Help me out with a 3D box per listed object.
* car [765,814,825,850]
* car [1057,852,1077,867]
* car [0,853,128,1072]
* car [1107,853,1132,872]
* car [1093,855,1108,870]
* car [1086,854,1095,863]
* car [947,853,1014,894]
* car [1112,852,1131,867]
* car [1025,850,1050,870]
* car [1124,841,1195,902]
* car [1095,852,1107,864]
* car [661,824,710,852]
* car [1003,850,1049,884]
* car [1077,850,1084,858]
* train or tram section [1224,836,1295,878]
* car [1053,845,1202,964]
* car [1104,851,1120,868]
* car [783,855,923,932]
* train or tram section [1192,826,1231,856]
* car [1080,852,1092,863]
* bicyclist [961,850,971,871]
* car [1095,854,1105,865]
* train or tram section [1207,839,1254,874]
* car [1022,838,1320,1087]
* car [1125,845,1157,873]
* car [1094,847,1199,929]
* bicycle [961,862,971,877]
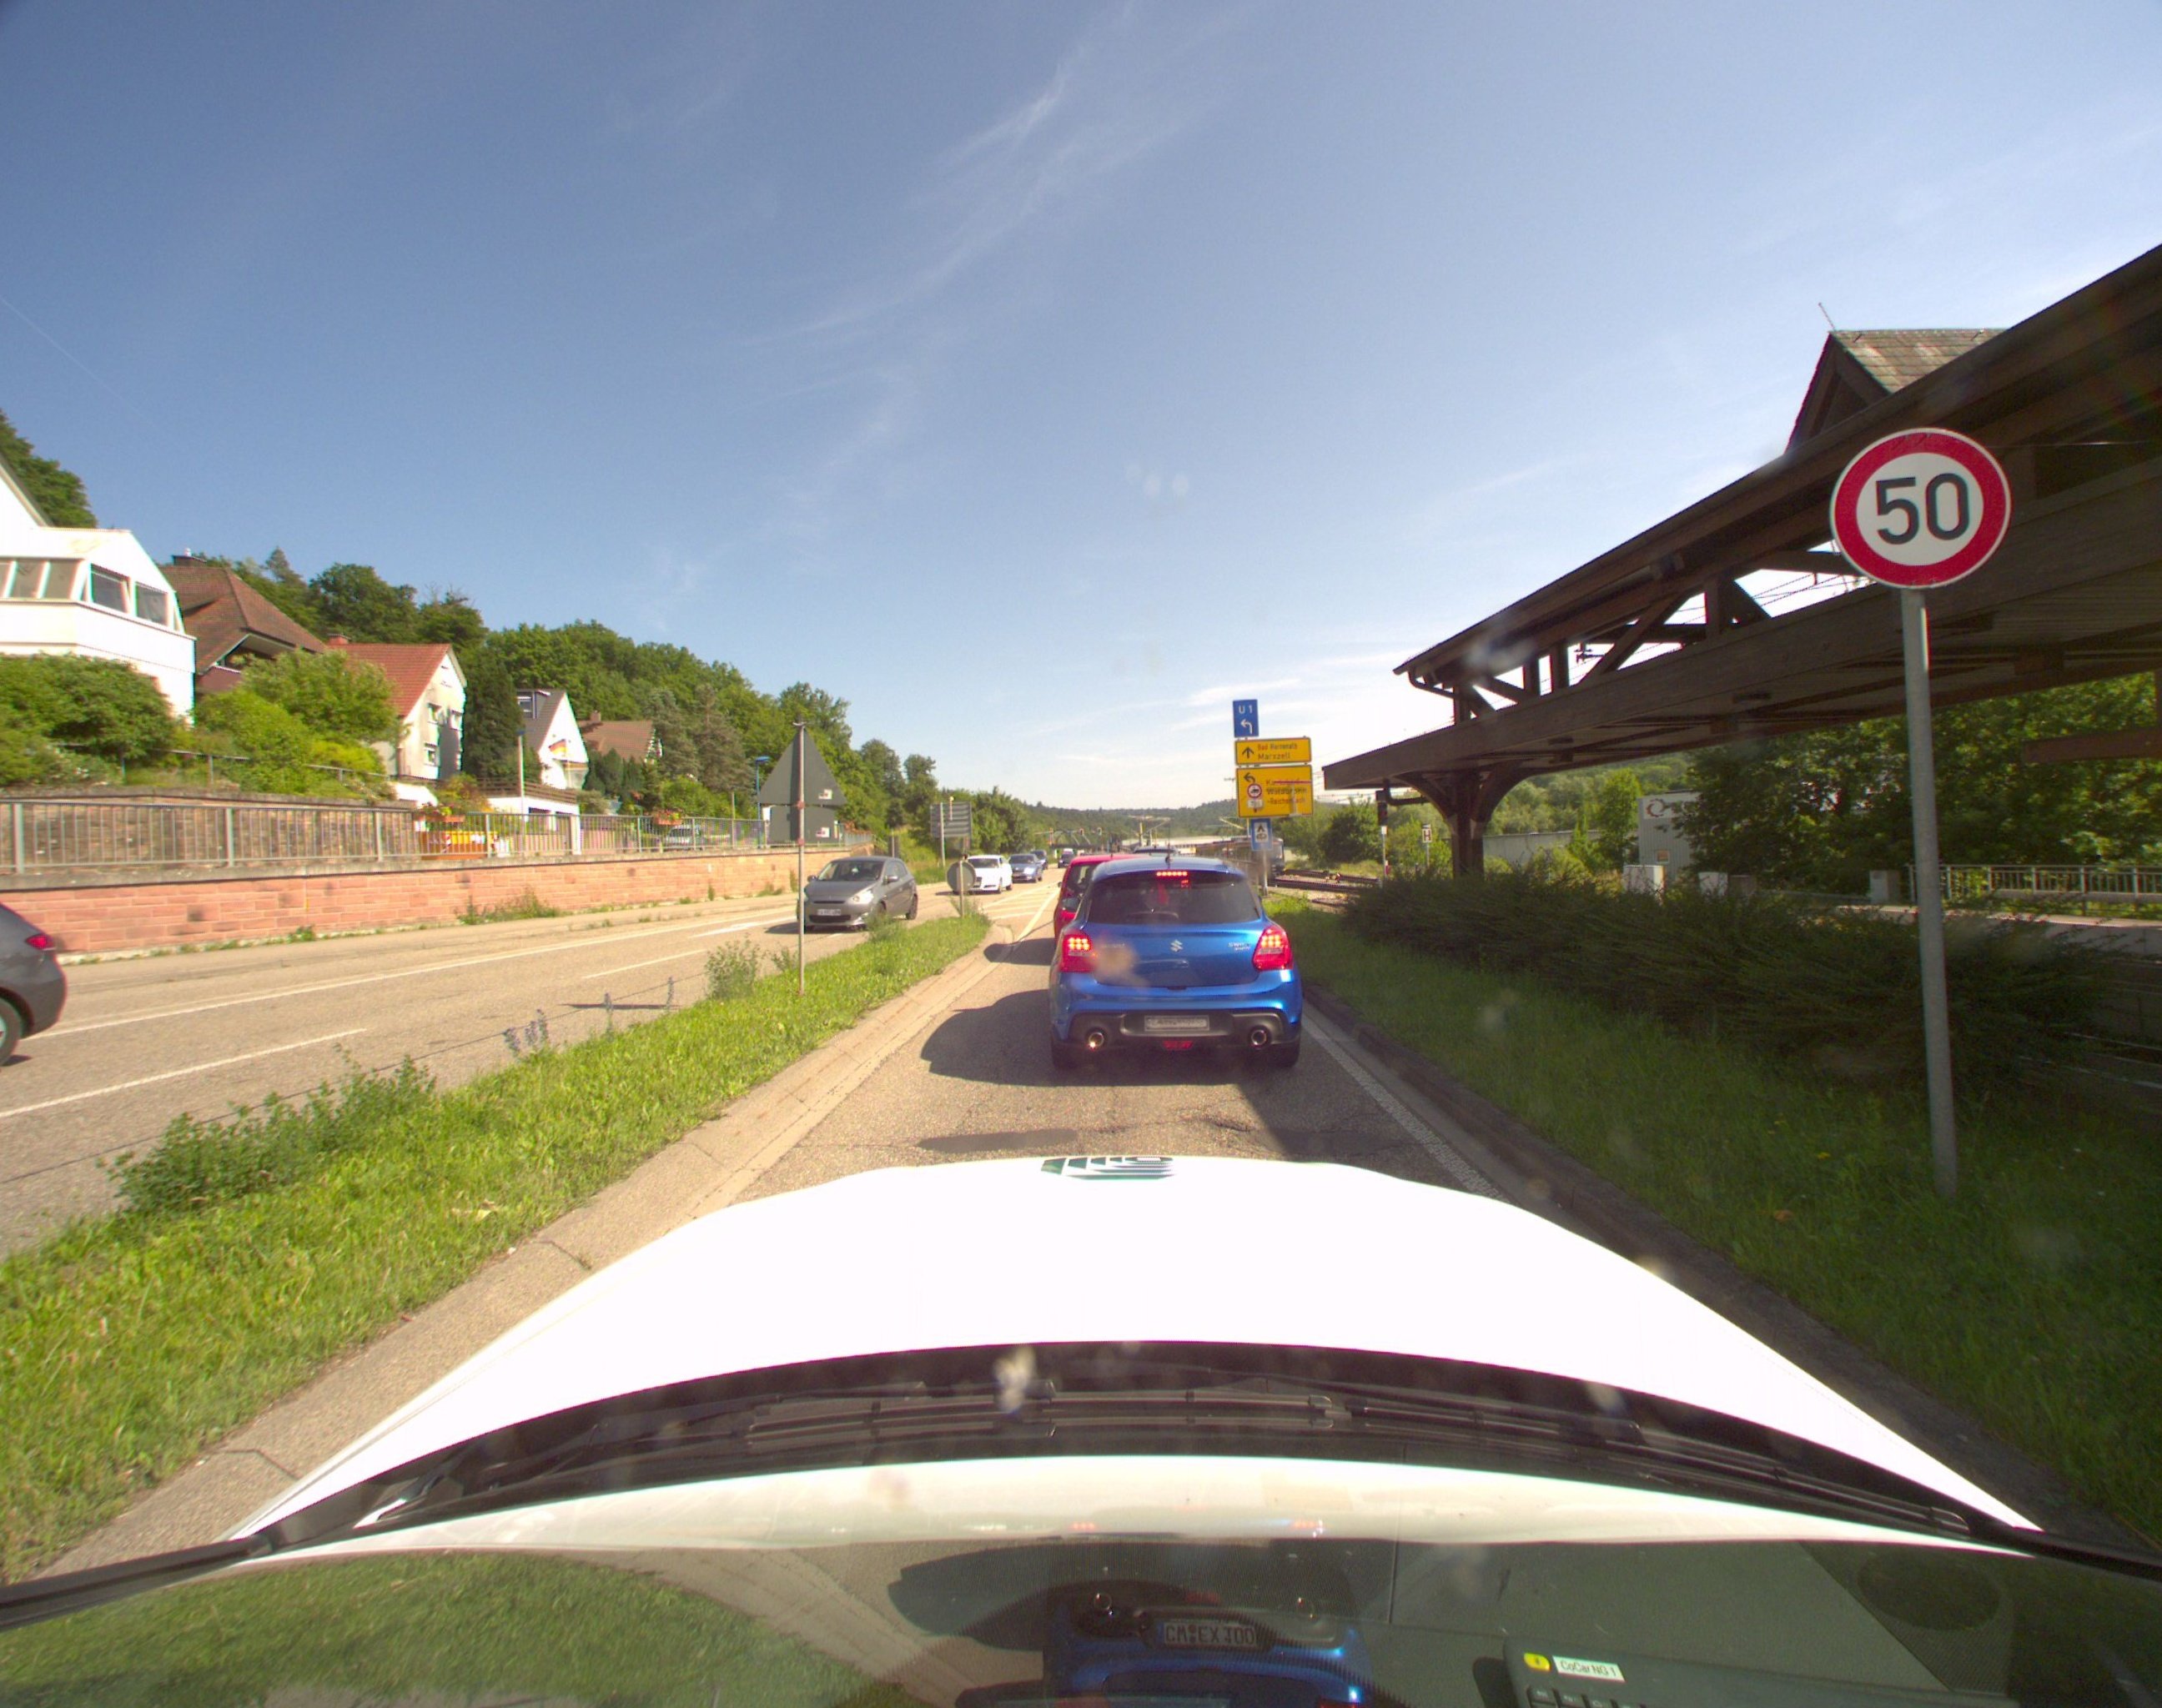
[{"bbox_3d":[-16.108,-1.247,46.115,2.017,1.920,4.724,0,1,-5],"label":"car"},{"bbox_3d":[-1.344,0.535,81.285,1.826,1.431,3.812,0,1,1],"label":"car"},{"bbox_3d":[-8.842,0.806,4.368,1.985,1.564,4.514,-1,0,4],"label":"car"},{"bbox_3d":[3.066,0.649,64.292,1.824,1.431,3.815,1,1,4],"label":"car"},{"bbox_3d":[2.807,1.182,116.851,1.986,2.013,4.002,0,1,2],"label":"car"},{"bbox_3d":[2.234,1.040,190.295,1.986,2.013,4.002,0,1,2],"label":"car"},{"bbox_3d":[-3.710,0.700,30.859,1.825,1.369,3.953,0,1,3],"label":"car"},{"bbox_3d":[4.251,0.537,84.863,1.824,1.493,3.815,1,1,4],"label":"car"},{"bbox_3d":[-3.930,0.488,73.690,1.825,1.713,3.814,1,1,3],"label":"car"},{"bbox_3d":[2.350,0.476,25.248,1.985,1.686,4.501,1,0,3],"label":"car"},{"bbox_3d":[3.540,0.702,141.458,1.986,2.013,4.002,0,1,2],"label":"car"},{"bbox_3d":[-24.466,-0.984,50.489,1.898,1.629,3.981,-1,0,-14],"label":"car"},{"bbox_3d":[-2.696,0.631,41.007,1.825,1.468,3.815,1,2,3],"label":"car"},{"bbox_3d":[-0.101,0.055,235.824,1.986,2.144,4.722,0,0,2],"label":"car"},{"bbox_3d":[15.518,0.221,72.211,2.847,3.365,14.348,-1,0,-1],"label":"train or tram section"},{"bbox_3d":[0.735,0.670,12.817,1.985,1.571,4.004,0,0,3],"label":"car"},{"bbox_3d":[3.766,0.663,99.262,1.986,2.013,4.002,0,1,2],"label":"car"},{"bbox_3d":[-4.676,0.743,17.270,1.665,1.441,3.843,-1,0,3],"label":"car"},{"bbox_3d":[15.378,-1.410,97.008,2.747,3.364,12.045,0,0,0],"label":"train or tram section"},{"bbox_3d":[0.930,0.625,140.318,1.986,1.783,4.002,0,0,2],"label":"car"},{"bbox_3d":[-8.295,0.487,58.826,0.627,1.507,0.506,0,1,-2],"label":"bicyclist"},{"bbox_3d":[3.743,1.035,163.415,1.986,2.013,4.002,0,1,2],"label":"car"},{"bbox_3d":[15.450,0.257,85.174,2.777,3.364,12.045,0,0,0],"label":"train or tram section"},{"bbox_3d":[0.608,0.675,7.145,1.862,1.548,4.001,-1,0,1],"label":"car"},{"bbox_3d":[3.893,0.301,53.128,1.985,1.736,4.004,0,0,3],"label":"car"},{"bbox_3d":[1.404,0.641,18.073,1.985,1.531,4.606,-2,0,3],"label":"car"},{"bbox_3d":[-8.302,1.097,58.738,0.564,1.043,1.551,0,1,-1],"label":"bicycle"}]
